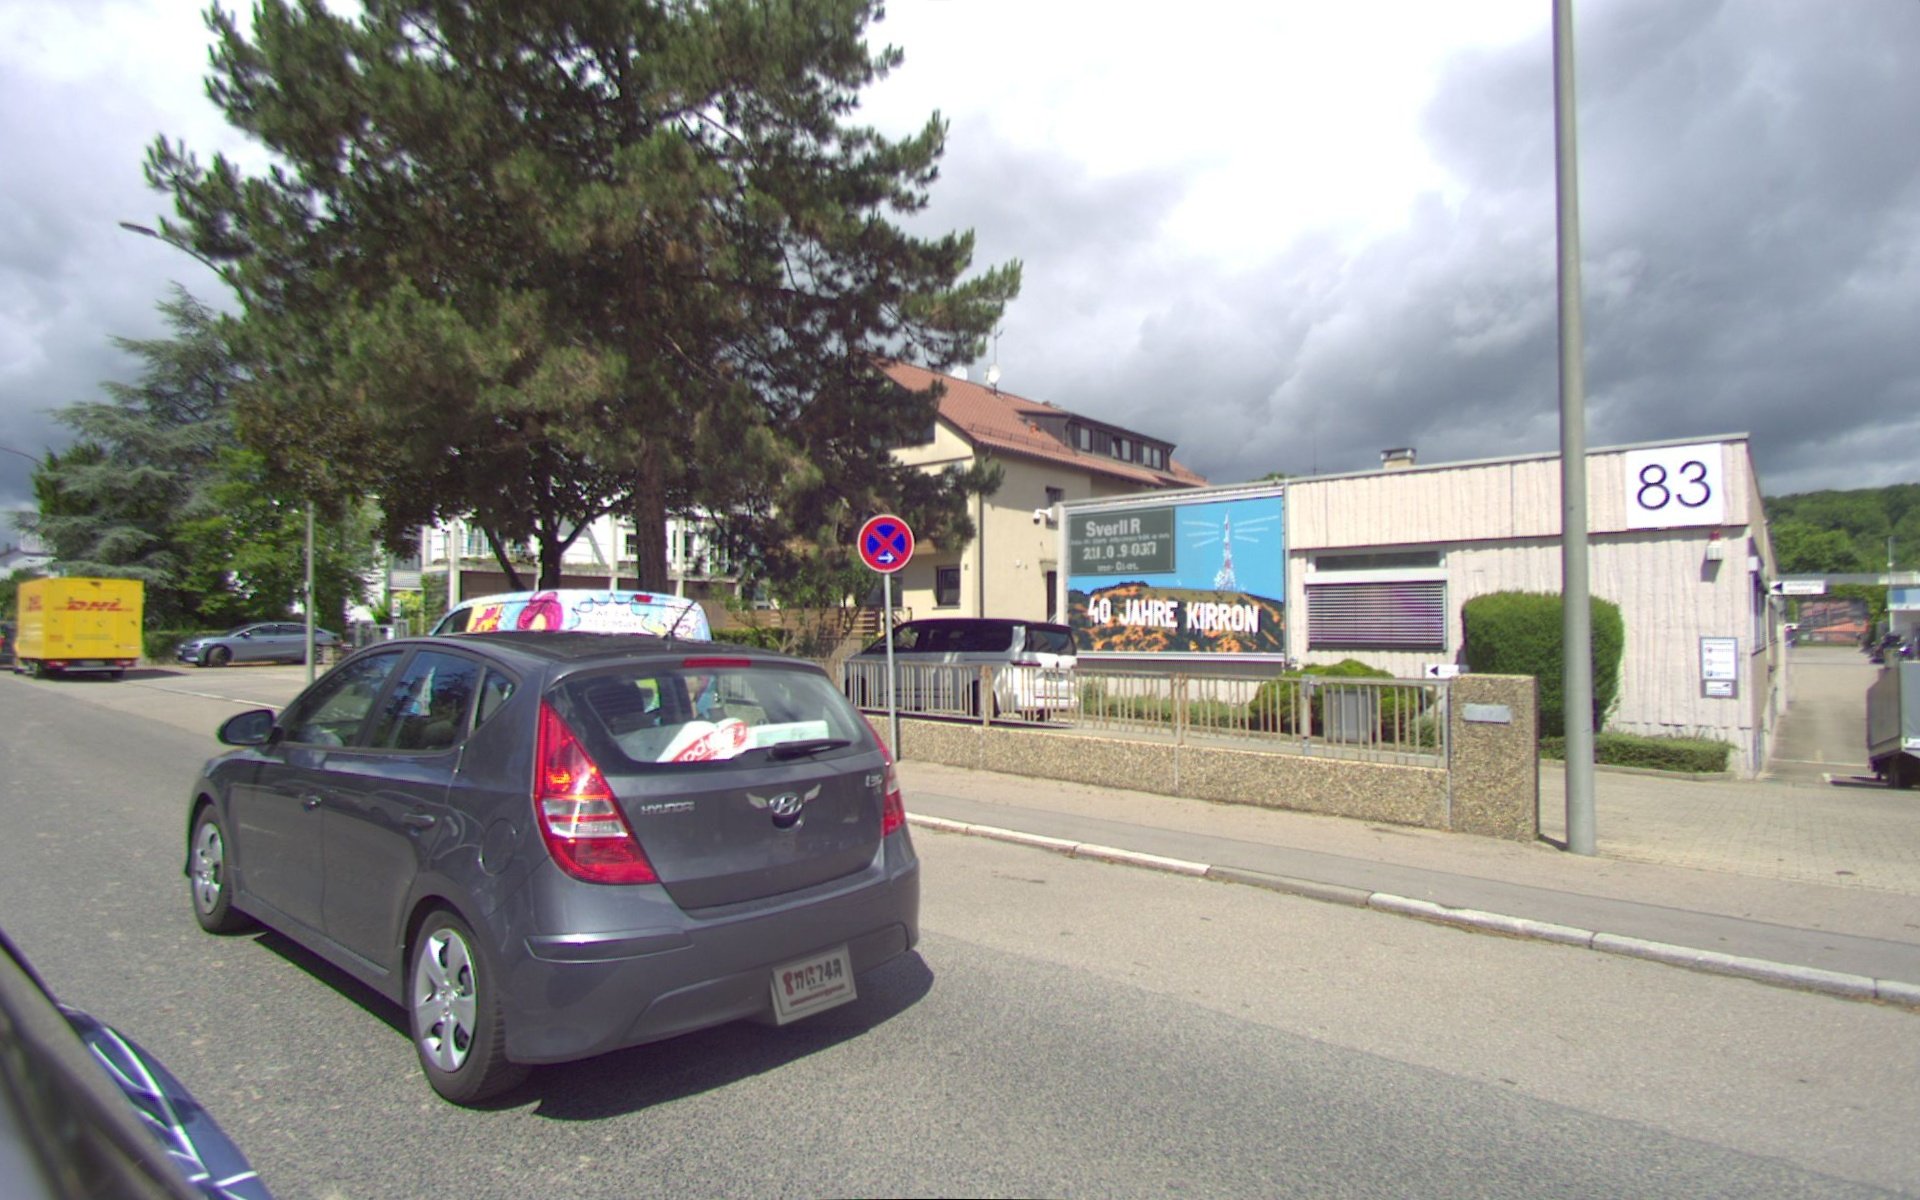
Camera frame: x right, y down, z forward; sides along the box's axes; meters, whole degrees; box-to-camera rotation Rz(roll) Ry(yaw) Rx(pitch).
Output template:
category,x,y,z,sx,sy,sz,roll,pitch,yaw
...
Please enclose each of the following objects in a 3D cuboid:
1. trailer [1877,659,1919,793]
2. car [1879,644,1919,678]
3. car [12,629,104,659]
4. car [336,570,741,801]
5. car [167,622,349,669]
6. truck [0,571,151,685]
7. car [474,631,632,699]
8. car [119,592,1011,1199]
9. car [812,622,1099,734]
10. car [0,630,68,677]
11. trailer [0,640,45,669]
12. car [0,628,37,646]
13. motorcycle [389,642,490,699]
category,x,y,z,sx,sy,sz,roll,pitch,yaw
trailer,15.812,2.050,15.389,2.456,1.899,3.948,-2,-9,39
car,57.712,3.737,61.822,1.998,2.029,3.947,-3,-5,39
car,-55.417,2.691,62.218,1.999,1.762,3.945,-1,-3,41
car,-4.535,0.839,10.481,4.893,1.868,1.814,-2,-6,41
car,-24.838,1.592,35.967,1.971,1.563,4.958,-1,-2,39
truck,-26.698,0.889,30.219,7.811,3.026,2.300,-1,-5,40
car,-10.086,1.547,24.979,4.081,1.555,1.750,-1,-3,37
car,-2.052,0.822,4.543,4.315,1.529,1.881,-1,-3,40
car,-0.218,1.378,19.369,5.476,1.845,2.058,-1,-3,41
car,-32.663,1.816,35.061,4.810,1.464,1.972,-1,-6,41
trailer,-37.494,2.053,39.116,7.455,0.998,2.294,-1,-4,41
car,-81.707,3.169,86.483,1.674,1.505,3.995,-1,-3,40
motorcycle,-11.238,1.496,21.875,1.844,1.174,0.827,2,-3,-33
